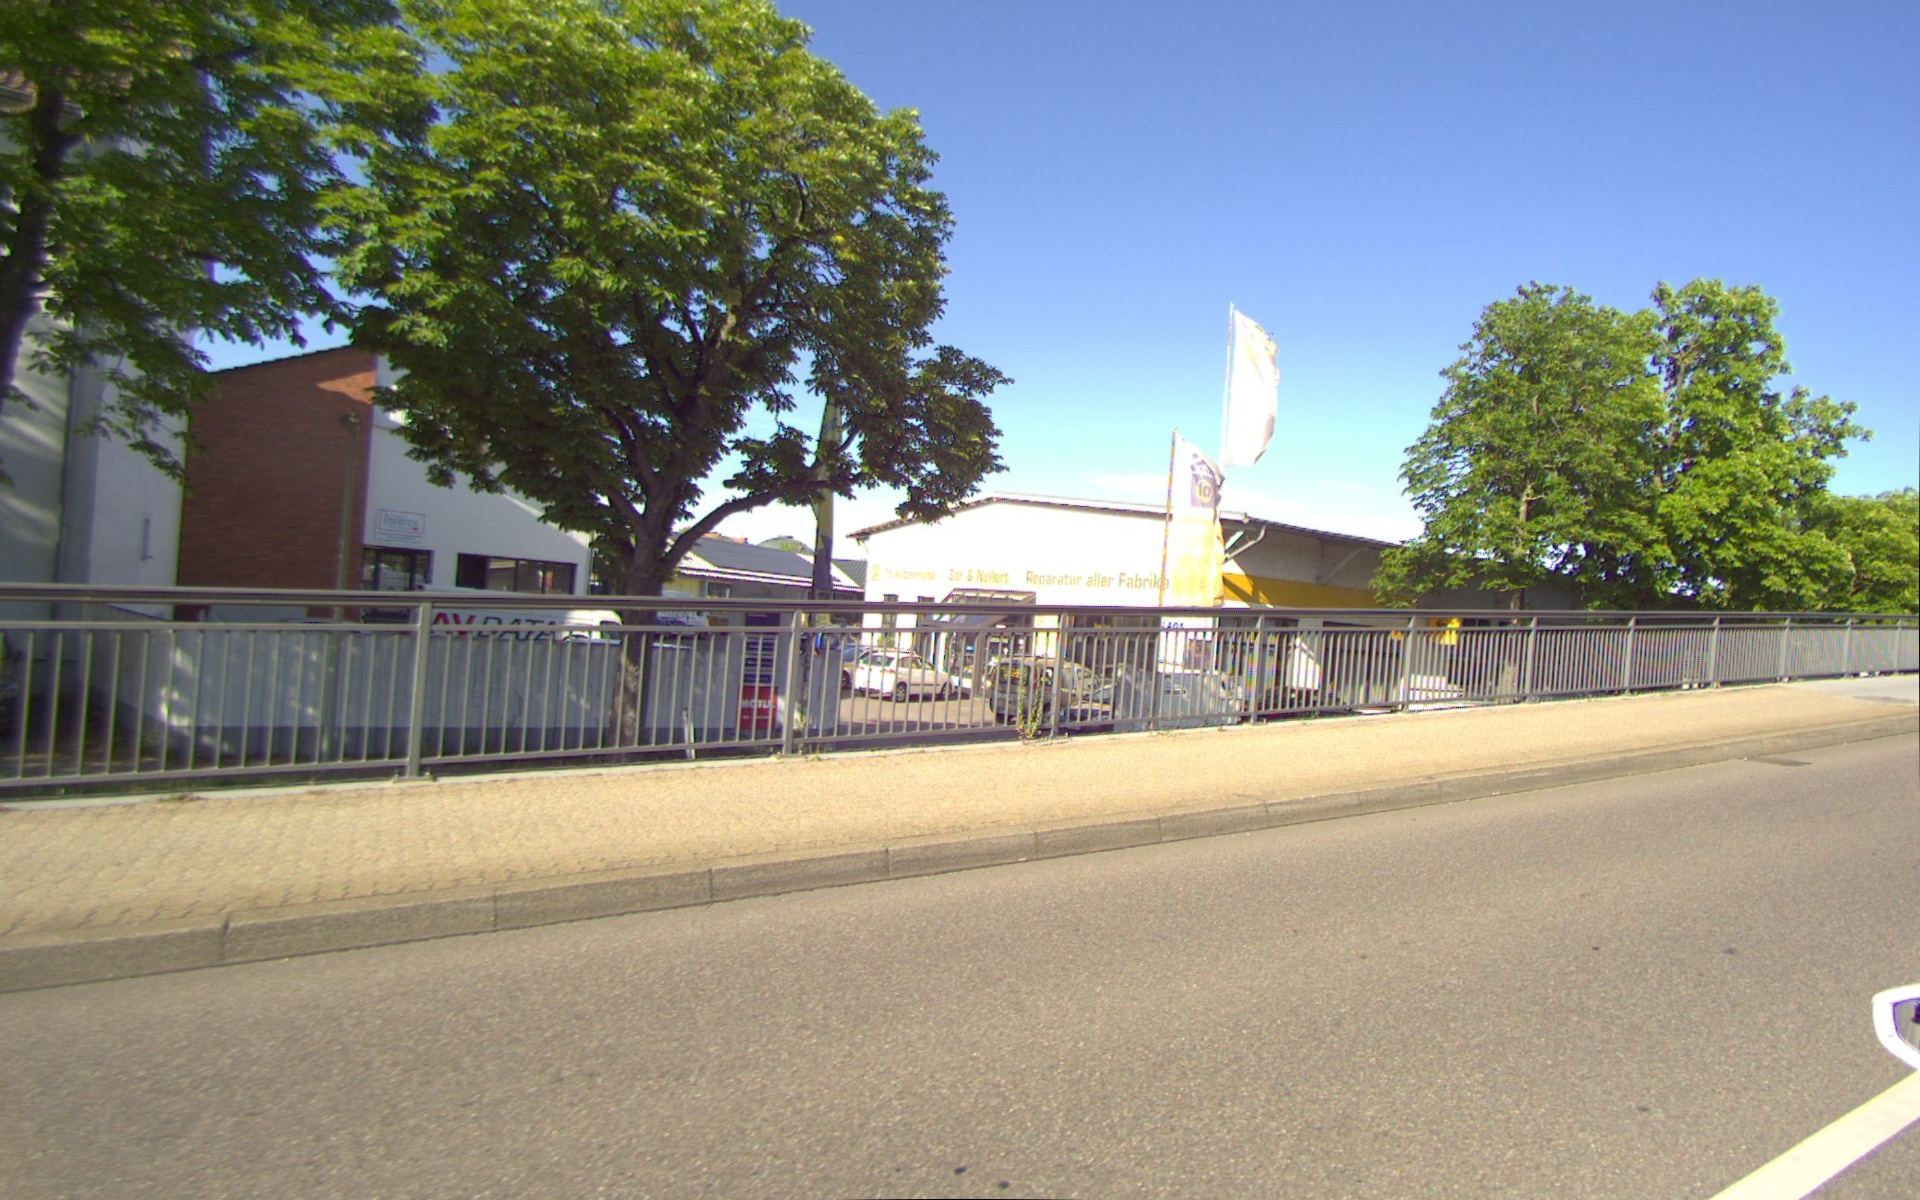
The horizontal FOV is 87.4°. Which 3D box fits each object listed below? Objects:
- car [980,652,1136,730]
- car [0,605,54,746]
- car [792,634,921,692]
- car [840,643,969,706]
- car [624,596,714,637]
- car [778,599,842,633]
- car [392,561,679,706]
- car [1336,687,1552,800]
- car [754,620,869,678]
[{"bbox_3d":[2.737,2.481,27.733,3.966,1.876,1.978,4,-1,-38],"label":"car"},{"bbox_3d":[-13.902,0.941,13.608,1.880,1.605,3.972,4,0,-35],"label":"car"},{"bbox_3d":[-3.587,2.208,34.953,3.964,1.768,1.979,4,0,-37],"label":"car"},{"bbox_3d":[-1.734,2.355,32.406,1.968,1.749,3.985,4,0,37],"label":"car"},{"bbox_3d":[-15.856,0.920,55.017,1.960,2.040,5.294,4,0,19],"label":"car"},{"bbox_3d":[-9.963,1.080,67.359,1.960,2.040,5.294,4,0,19],"label":"car"},{"bbox_3d":[-10.046,0.840,23.993,5.829,2.593,2.119,9,-1,-31],"label":"car"},{"bbox_3d":[10.417,3.033,21.604,4.202,2.017,1.917,4,0,-26],"label":"car"},{"bbox_3d":[-5.874,1.948,39.846,3.963,2.040,1.979,4,0,-37],"label":"car"}]
